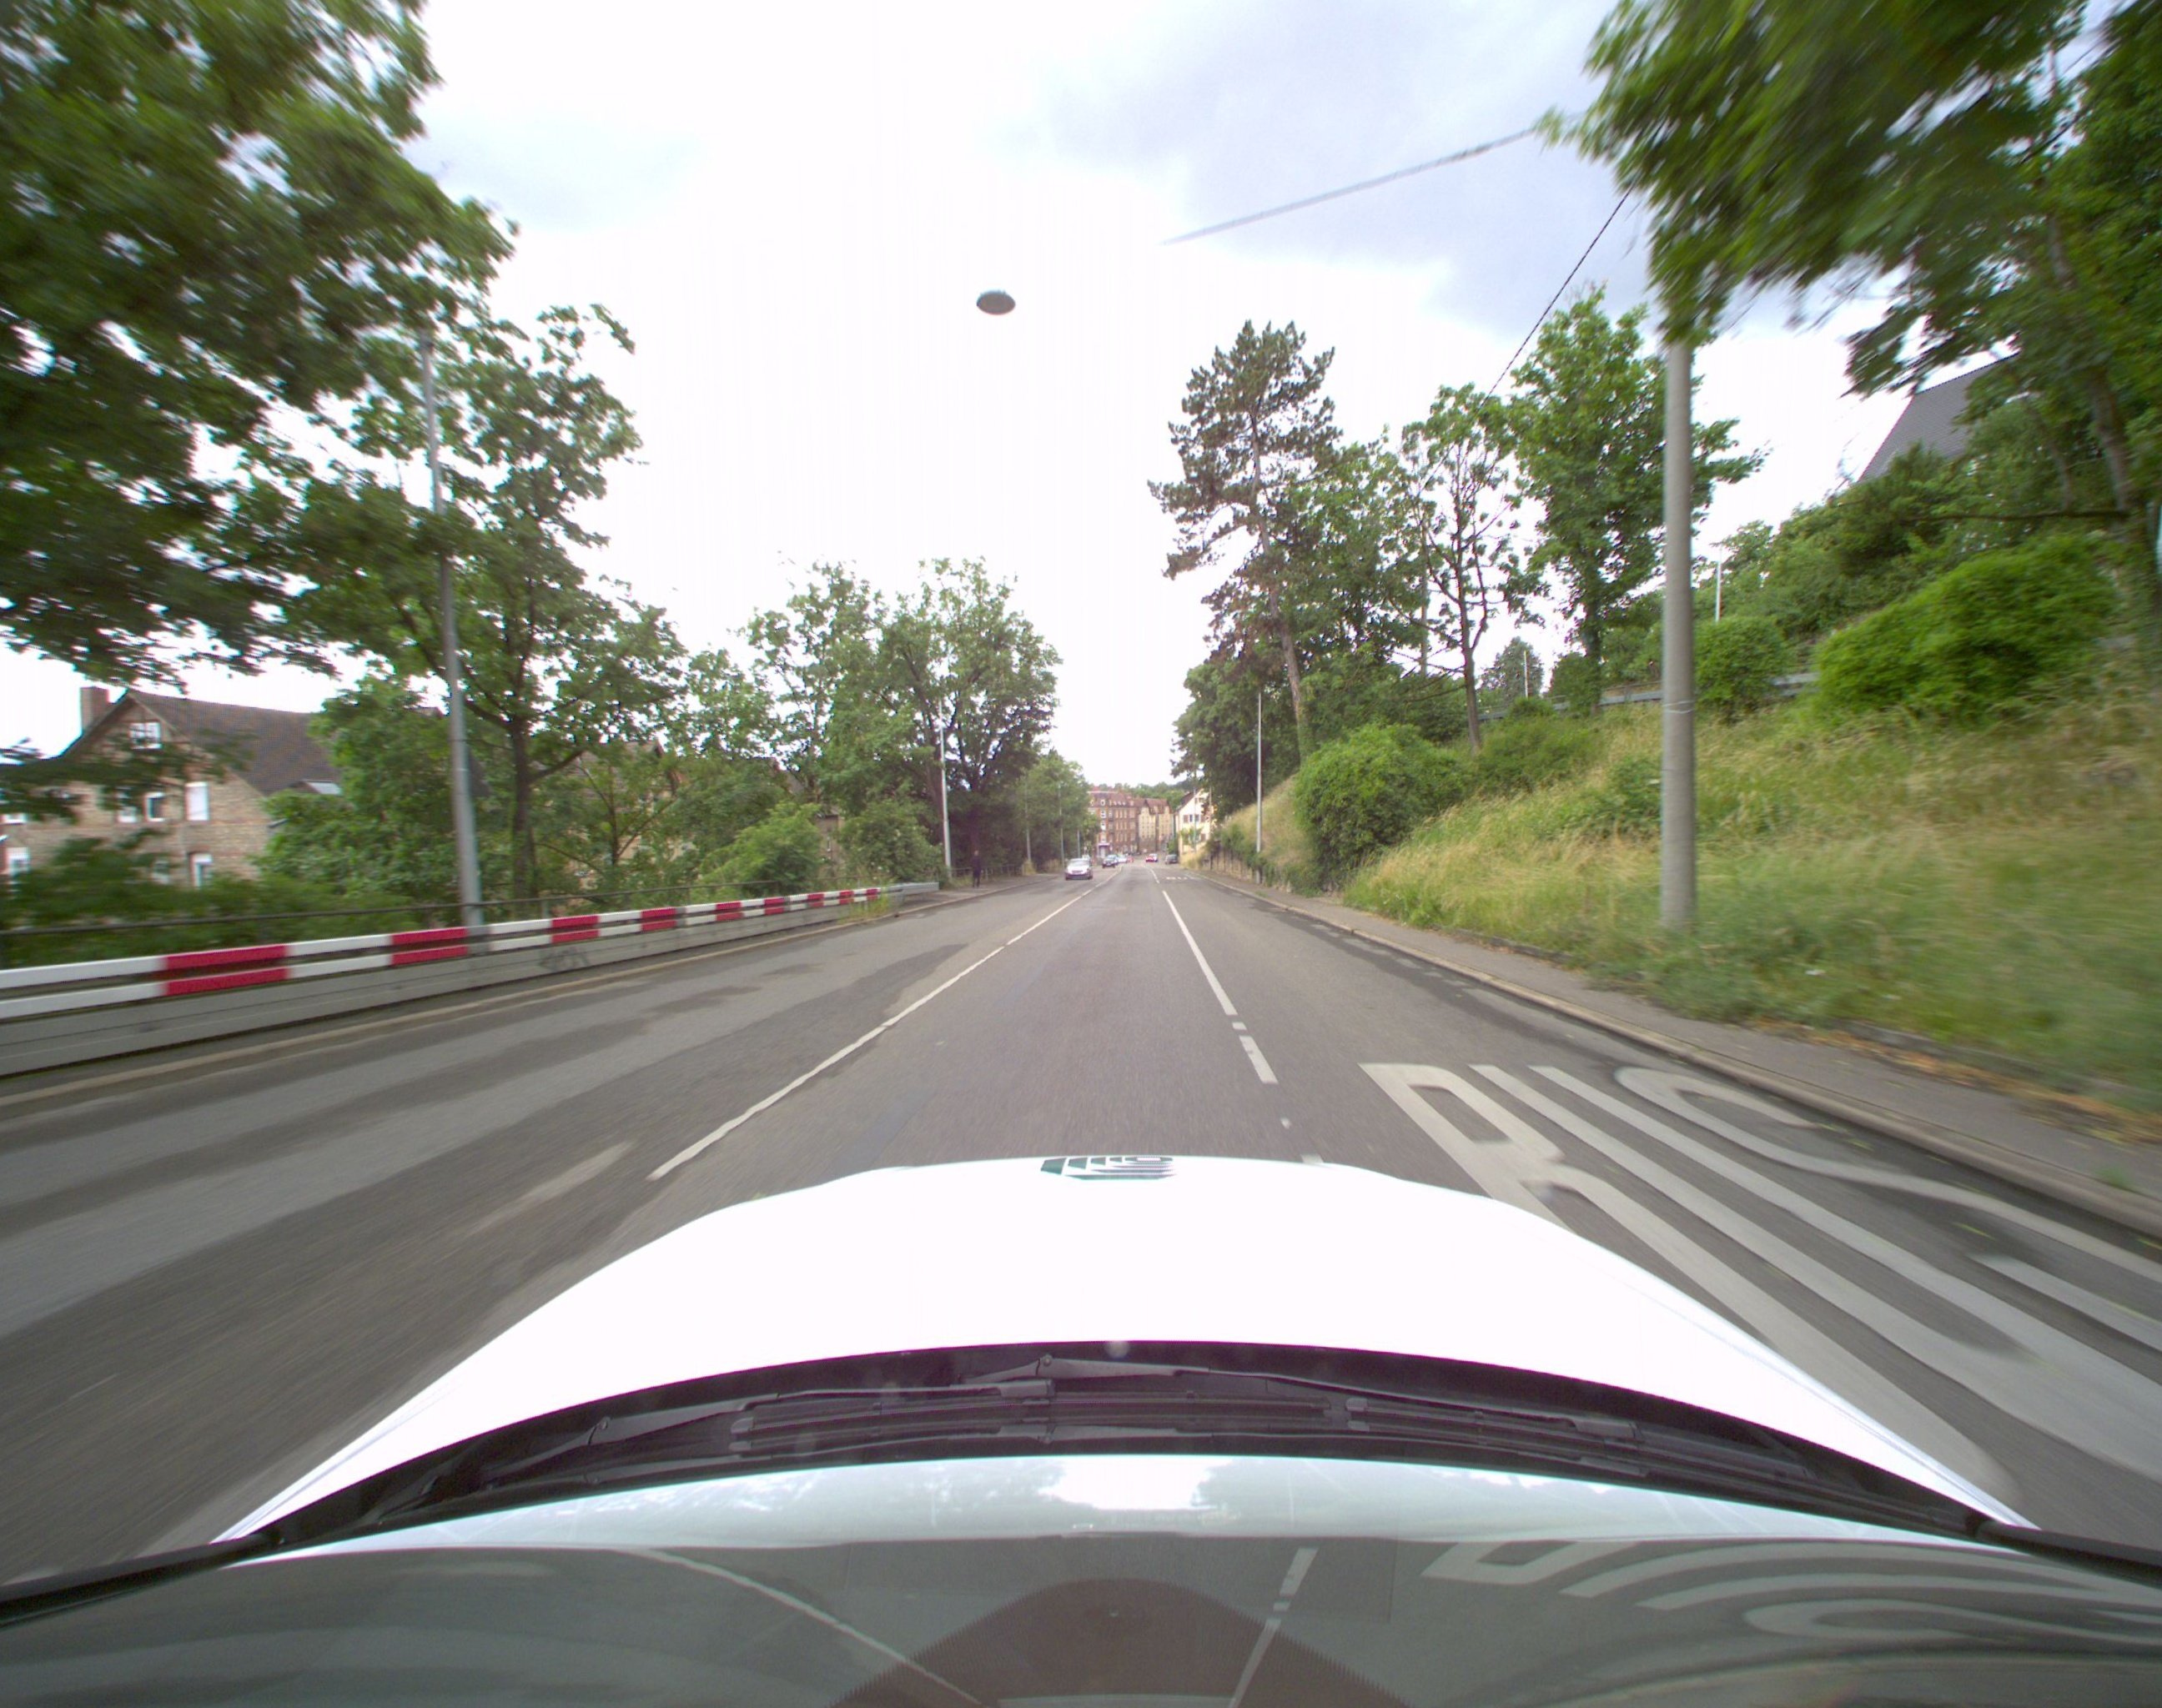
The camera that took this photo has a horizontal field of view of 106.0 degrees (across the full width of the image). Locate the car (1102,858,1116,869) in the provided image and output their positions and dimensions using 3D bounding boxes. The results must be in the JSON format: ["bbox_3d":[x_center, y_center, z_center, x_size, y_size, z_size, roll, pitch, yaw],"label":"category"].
[{"bbox_3d":[3.732,1.241,107.562,1.661,1.447,3.693,-2,-1,5],"label":"car"}]

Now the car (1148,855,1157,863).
[{"bbox_3d":[17.490,1.292,198.806,1.898,1.884,4.009,0,-1,9],"label":"car"}]

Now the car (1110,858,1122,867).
[{"bbox_3d":[5.598,1.358,130.000,1.705,1.427,4.142,-2,0,3],"label":"car"}]

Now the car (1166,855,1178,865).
[{"bbox_3d":[14.685,0.962,131.559,1.674,1.451,4.004,-5,-1,4],"label":"car"}]

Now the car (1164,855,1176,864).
[{"bbox_3d":[15.367,0.918,140.364,1.784,1.451,4.728,-5,0,7],"label":"car"}]

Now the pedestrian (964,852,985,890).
[{"bbox_3d":[-5.185,0.815,39.823,0.785,1.774,1.209,2,0,2],"label":"pedestrian"}]

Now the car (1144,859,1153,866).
[{"bbox_3d":[15.963,2.005,191.762,1.806,1.430,4.010,0,0,9],"label":"car"}]

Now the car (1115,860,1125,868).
[{"bbox_3d":[7.882,2.009,163.337,1.776,1.574,4.285,-2,-1,4],"label":"car"}]

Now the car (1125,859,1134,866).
[{"bbox_3d":[10.897,1.836,182.774,1.776,1.459,4.432,-2,-1,4],"label":"car"}]

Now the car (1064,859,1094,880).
[{"bbox_3d":[-0.085,1.082,57.496,1.786,1.427,4.148,0,0,4],"label":"car"}]
